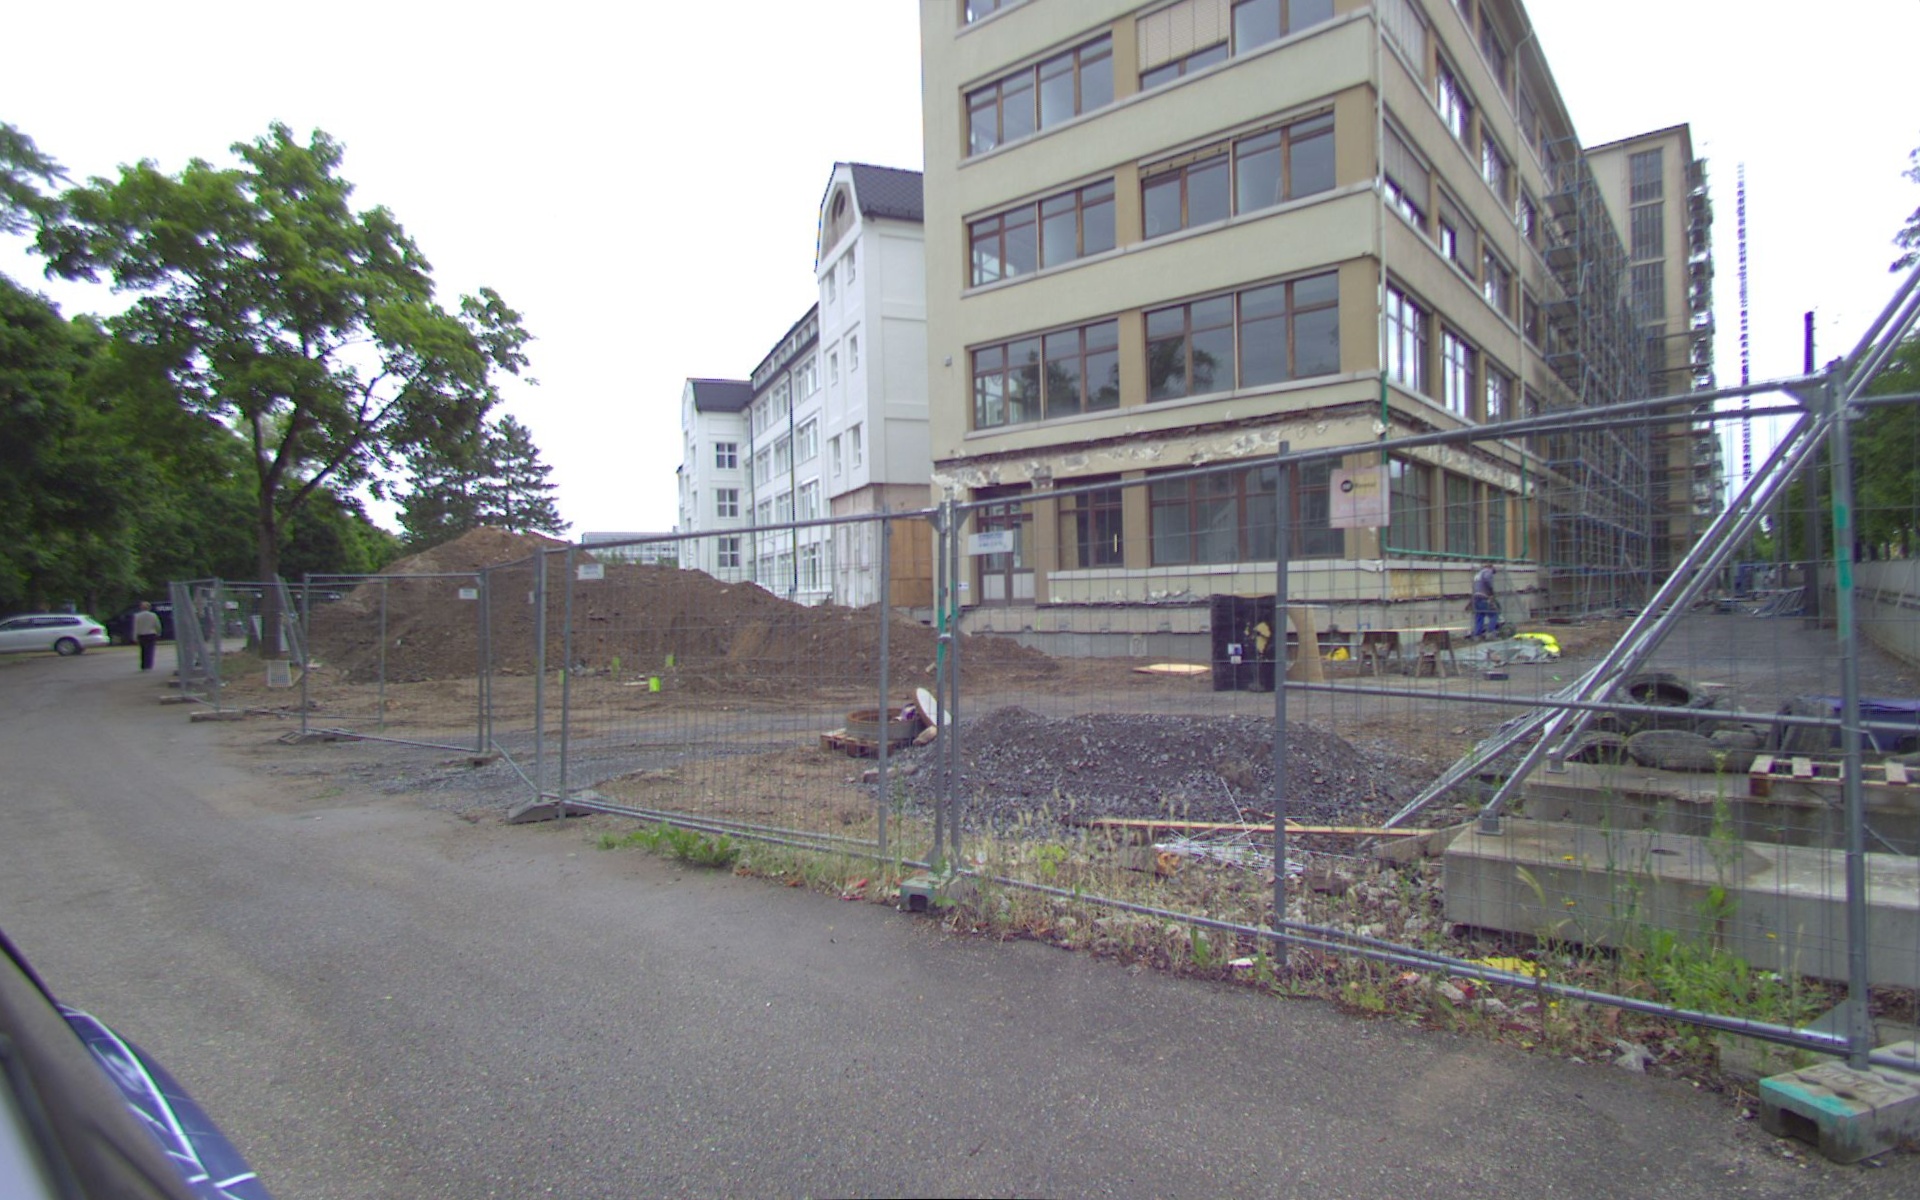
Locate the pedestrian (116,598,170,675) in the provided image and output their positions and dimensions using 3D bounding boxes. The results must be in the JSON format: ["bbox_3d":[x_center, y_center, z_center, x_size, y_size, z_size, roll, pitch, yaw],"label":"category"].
[{"bbox_3d":[-19.476,0.852,24.126,0.657,1.795,0.747,-1,0,16],"label":"pedestrian"}]

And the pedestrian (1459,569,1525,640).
[{"bbox_3d":[11.172,0.099,21.253,0.917,1.448,0.984,-1,0,-44],"label":"pedestrian"}]

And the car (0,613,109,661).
[{"bbox_3d":[-33.112,1.309,36.264,3.822,1.586,1.756,-2,0,-35],"label":"car"}]

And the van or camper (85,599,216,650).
[{"bbox_3d":[-38.236,1.117,47.930,4.423,2.275,2.007,-1,0,-23],"label":"van or camper"}]
